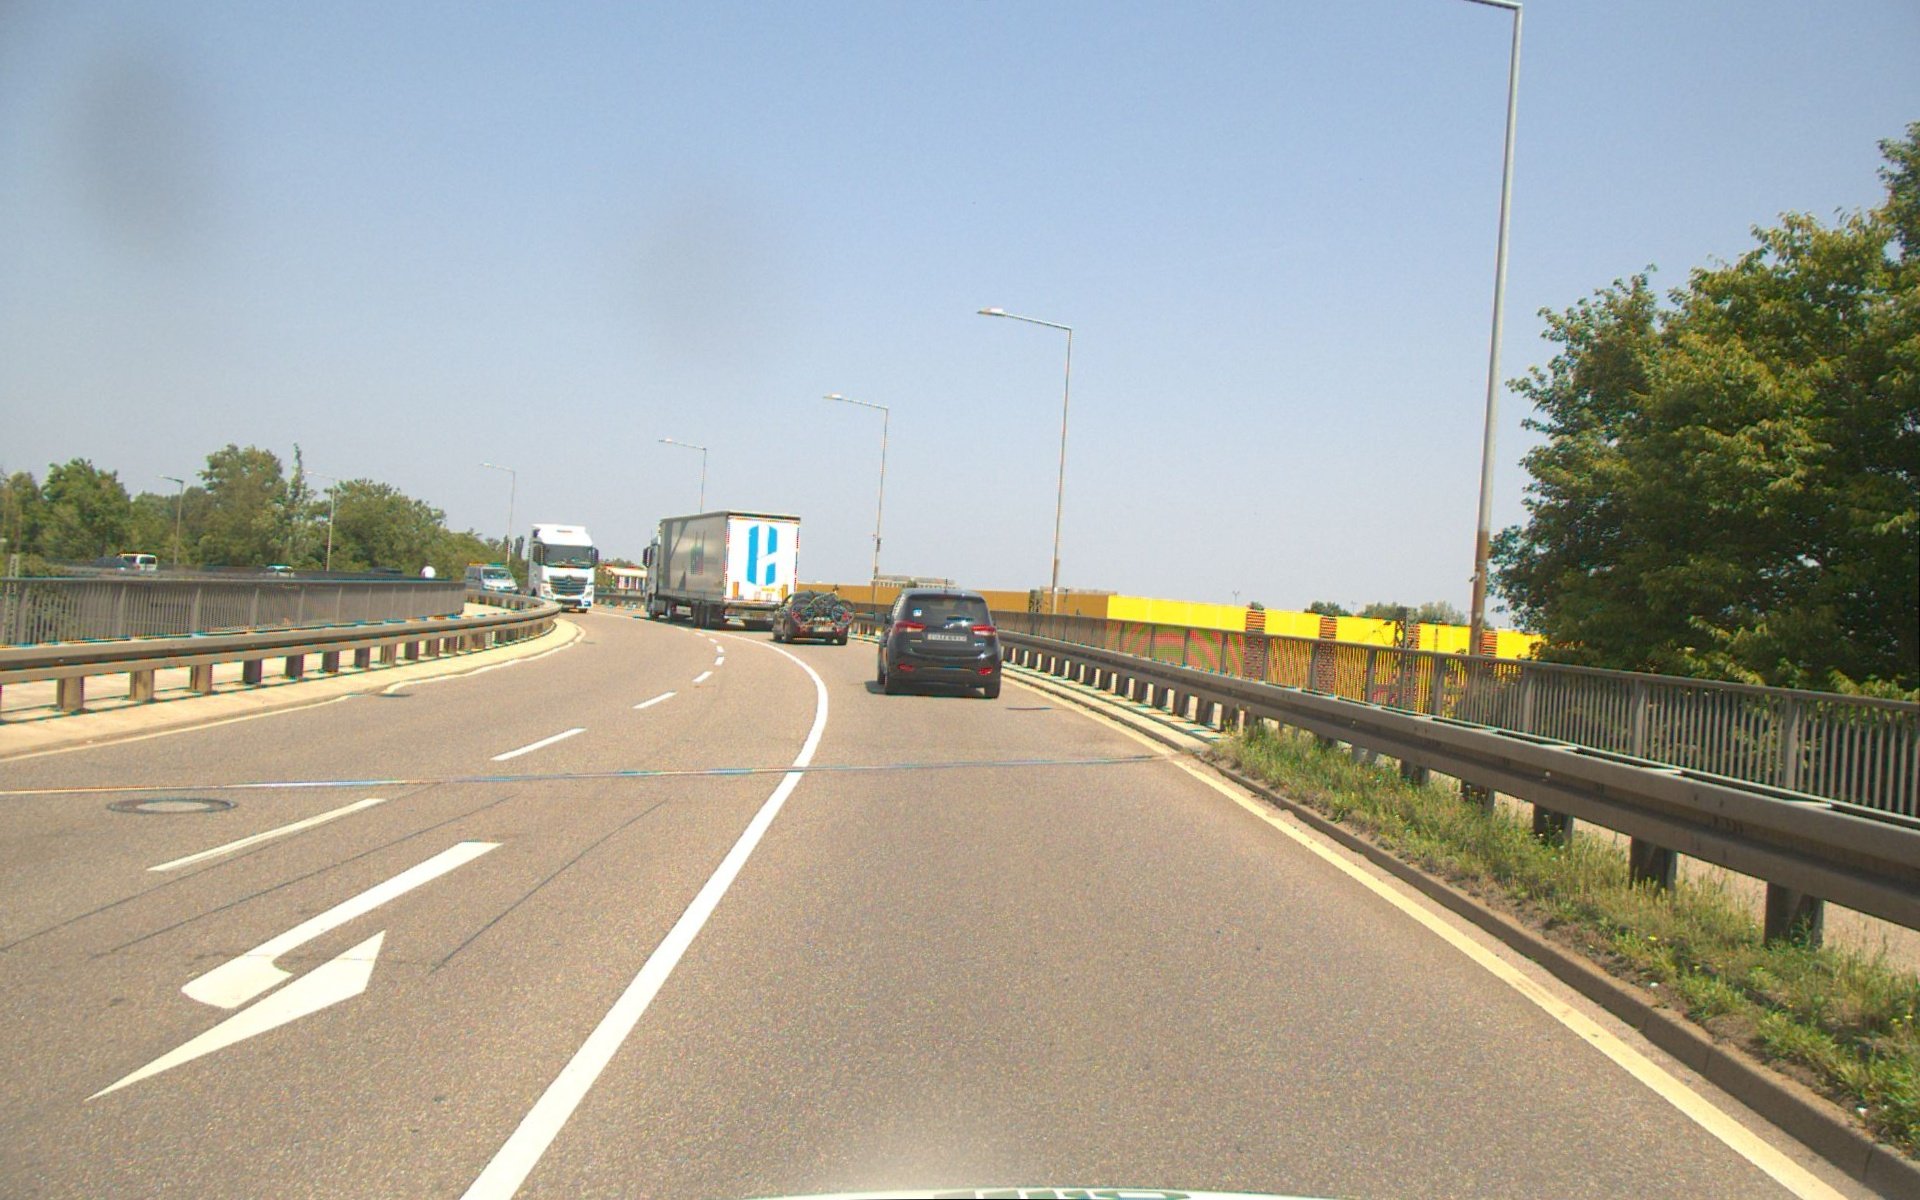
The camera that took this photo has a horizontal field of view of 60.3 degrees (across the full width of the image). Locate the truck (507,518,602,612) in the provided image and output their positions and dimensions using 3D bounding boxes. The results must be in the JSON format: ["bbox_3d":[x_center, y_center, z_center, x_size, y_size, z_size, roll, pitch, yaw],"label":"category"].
[{"bbox_3d":[-18.728,-1.639,76.183,2.675,4.060,6.130,3,0,-28],"label":"truck"}]

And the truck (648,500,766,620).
[{"bbox_3d":[-10.561,-1.628,68.414,3.519,4.518,6.480,3,0,-19],"label":"truck"}]

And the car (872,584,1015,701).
[{"bbox_3d":[-0.339,0.600,26.054,1.884,1.601,3.887,3,0,-5],"label":"car"}]

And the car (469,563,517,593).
[{"bbox_3d":[-24.557,-1.173,86.878,1.542,1.410,3.579,3,0,-30],"label":"car"}]

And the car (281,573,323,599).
[{"bbox_3d":[-48.931,-1.050,122.887,1.666,1.668,3.713,3,0,-42],"label":"car"}]

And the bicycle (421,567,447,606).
[{"bbox_3d":[-26.394,-0.691,82.967,0.691,1.833,2.158,3,0,-31],"label":"bicycle"}]

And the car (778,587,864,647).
[{"bbox_3d":[-3.892,0.432,45.748,1.975,1.454,3.768,3,0,-10],"label":"car"}]

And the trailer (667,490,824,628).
[{"bbox_3d":[-8.170,-1.499,61.272,3.515,4.460,11.383,3,0,-18],"label":"trailer"}]
